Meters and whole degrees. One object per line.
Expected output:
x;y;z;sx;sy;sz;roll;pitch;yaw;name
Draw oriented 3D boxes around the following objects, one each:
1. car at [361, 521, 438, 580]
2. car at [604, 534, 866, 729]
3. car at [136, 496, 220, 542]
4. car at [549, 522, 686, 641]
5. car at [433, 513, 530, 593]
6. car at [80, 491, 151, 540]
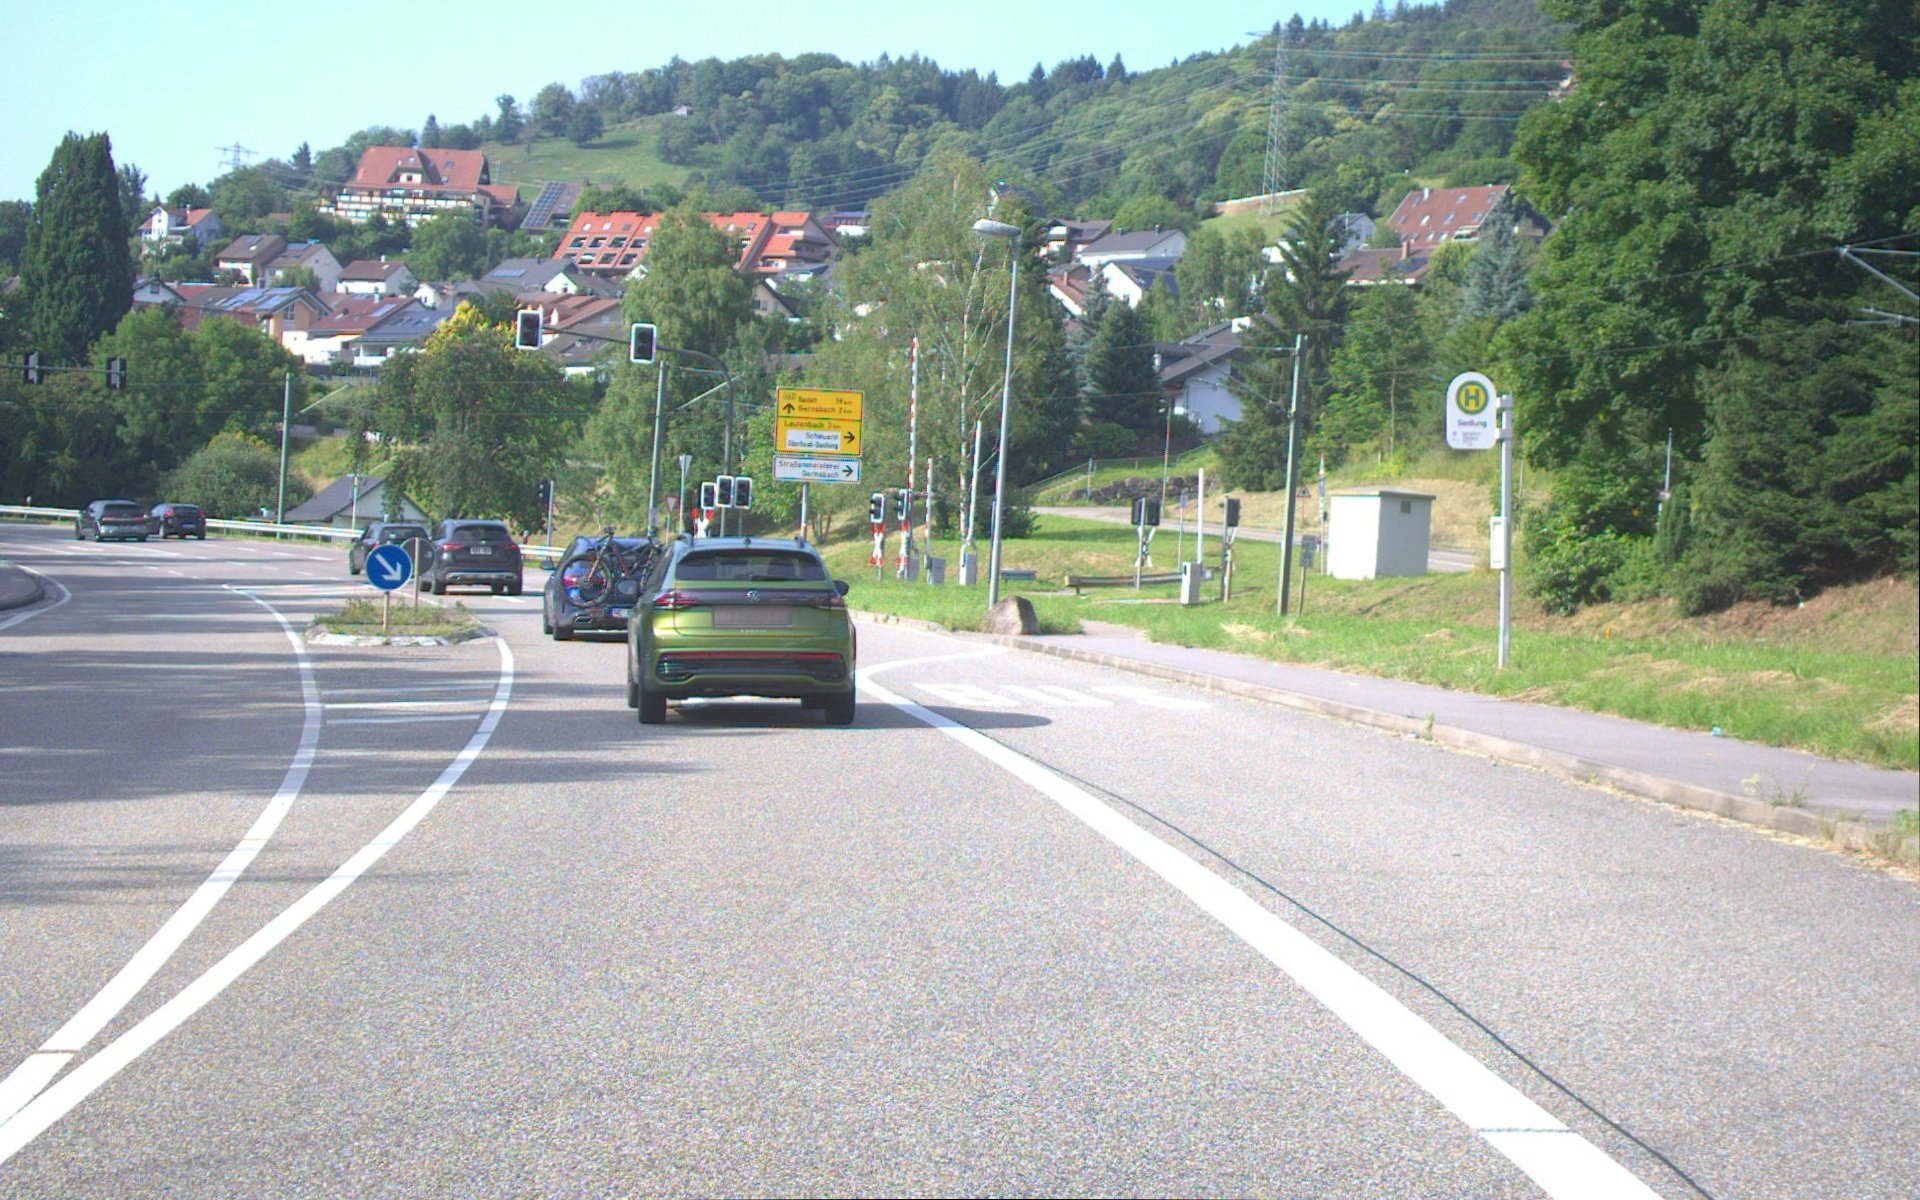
-14.937;-1.332;91.482;1.848;1.521;3.663;1;1;-12;car
-1.928;0.207;28.394;1.714;1.450;4.001;1;1;-10;car
-31.462;-3.264;138.187;1.993;1.739;4.000;1;1;-33;car
-4.754;-0.280;47.380;1.666;1.554;4.001;1;1;-8;car
-10.498;-1.039;75.191;1.879;1.681;4.001;1;1;-11;car
-32.639;-3.264;132.815;2.062;1.805;4.001;1;2;-22;car
